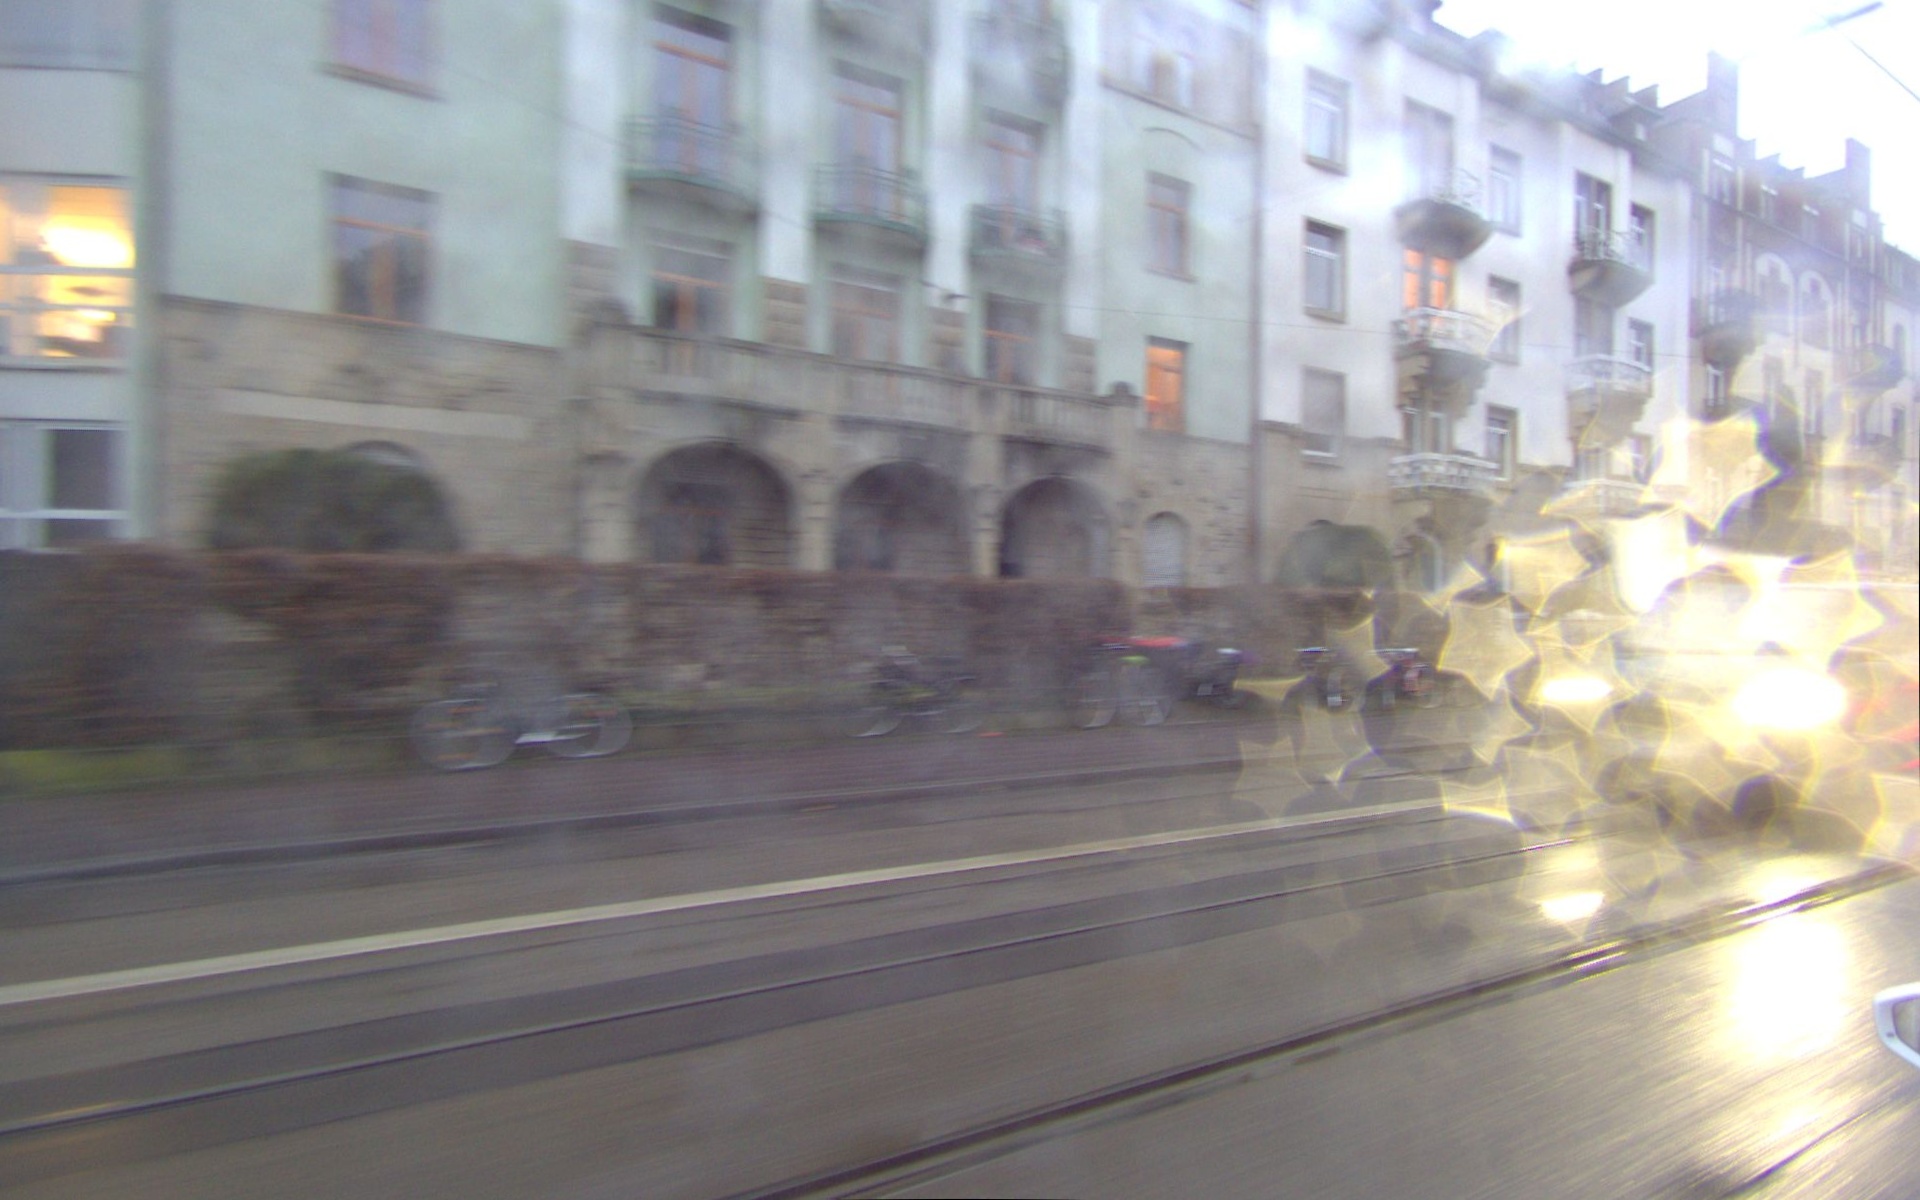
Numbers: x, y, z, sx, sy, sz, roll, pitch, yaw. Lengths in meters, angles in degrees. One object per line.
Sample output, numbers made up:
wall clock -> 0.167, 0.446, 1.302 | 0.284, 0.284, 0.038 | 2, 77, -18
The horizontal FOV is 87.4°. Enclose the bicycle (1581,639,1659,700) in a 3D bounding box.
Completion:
bicycle -> 12.746, 1.318, 19.385 | 1.909, 1.114, 0.484 | 1, -2, -32

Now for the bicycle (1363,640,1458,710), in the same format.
bicycle -> 7.312, 1.223, 16.288 | 1.581, 1.044, 0.688 | 6, -5, -35

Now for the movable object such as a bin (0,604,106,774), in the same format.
movable object such as a bin -> -8.849, 0.778, 9.134 | 1.306, 1.469, 1.260 | 0, -1, -23

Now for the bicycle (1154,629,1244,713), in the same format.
bicycle -> 3.881, 1.141, 16.443 | 0.483, 1.279, 1.585 | 6, -4, -25

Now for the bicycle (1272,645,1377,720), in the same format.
bicycle -> 5.585, 1.266, 15.364 | 1.579, 1.044, 0.688 | 6, -4, -33

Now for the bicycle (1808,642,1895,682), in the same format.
bicycle -> 25.914, 1.790, 29.215 | 0.610, 1.095, 1.792 | 0, -1, -36

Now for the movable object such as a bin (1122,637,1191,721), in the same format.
movable object such as a bin -> 2.834, 1.115, 14.464 | 0.738, 1.152, 0.687 | 1, -1, -44

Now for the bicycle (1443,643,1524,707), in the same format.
bicycle -> 9.056, 1.294, 17.365 | 1.583, 1.044, 0.686 | 3, -3, -39

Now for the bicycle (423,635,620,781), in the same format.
bicycle -> -4.042, 0.945, 9.302 | 1.581, 1.228, 0.687 | 1, -1, -36

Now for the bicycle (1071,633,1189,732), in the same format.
bicycle -> 2.281, 1.058, 13.361 | 1.583, 1.228, 0.686 | 1, -1, -40

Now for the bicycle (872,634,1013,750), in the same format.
bicycle -> -0.185, 1.017, 11.561 | 1.583, 1.228, 0.624 | 1, -1, -40

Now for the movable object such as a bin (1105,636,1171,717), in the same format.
movable object such as a bin -> 2.678, 1.130, 15.106 | 0.738, 1.152, 0.687 | 1, -1, -44

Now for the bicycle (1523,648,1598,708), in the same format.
bicycle -> 11.014, 1.405, 18.405 | 1.583, 1.044, 0.686 | 2, -2, -40

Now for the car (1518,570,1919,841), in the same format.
car -> 7.645, 0.800, 9.454 | 5.044, 1.947, 2.035 | 1, -1, -33
